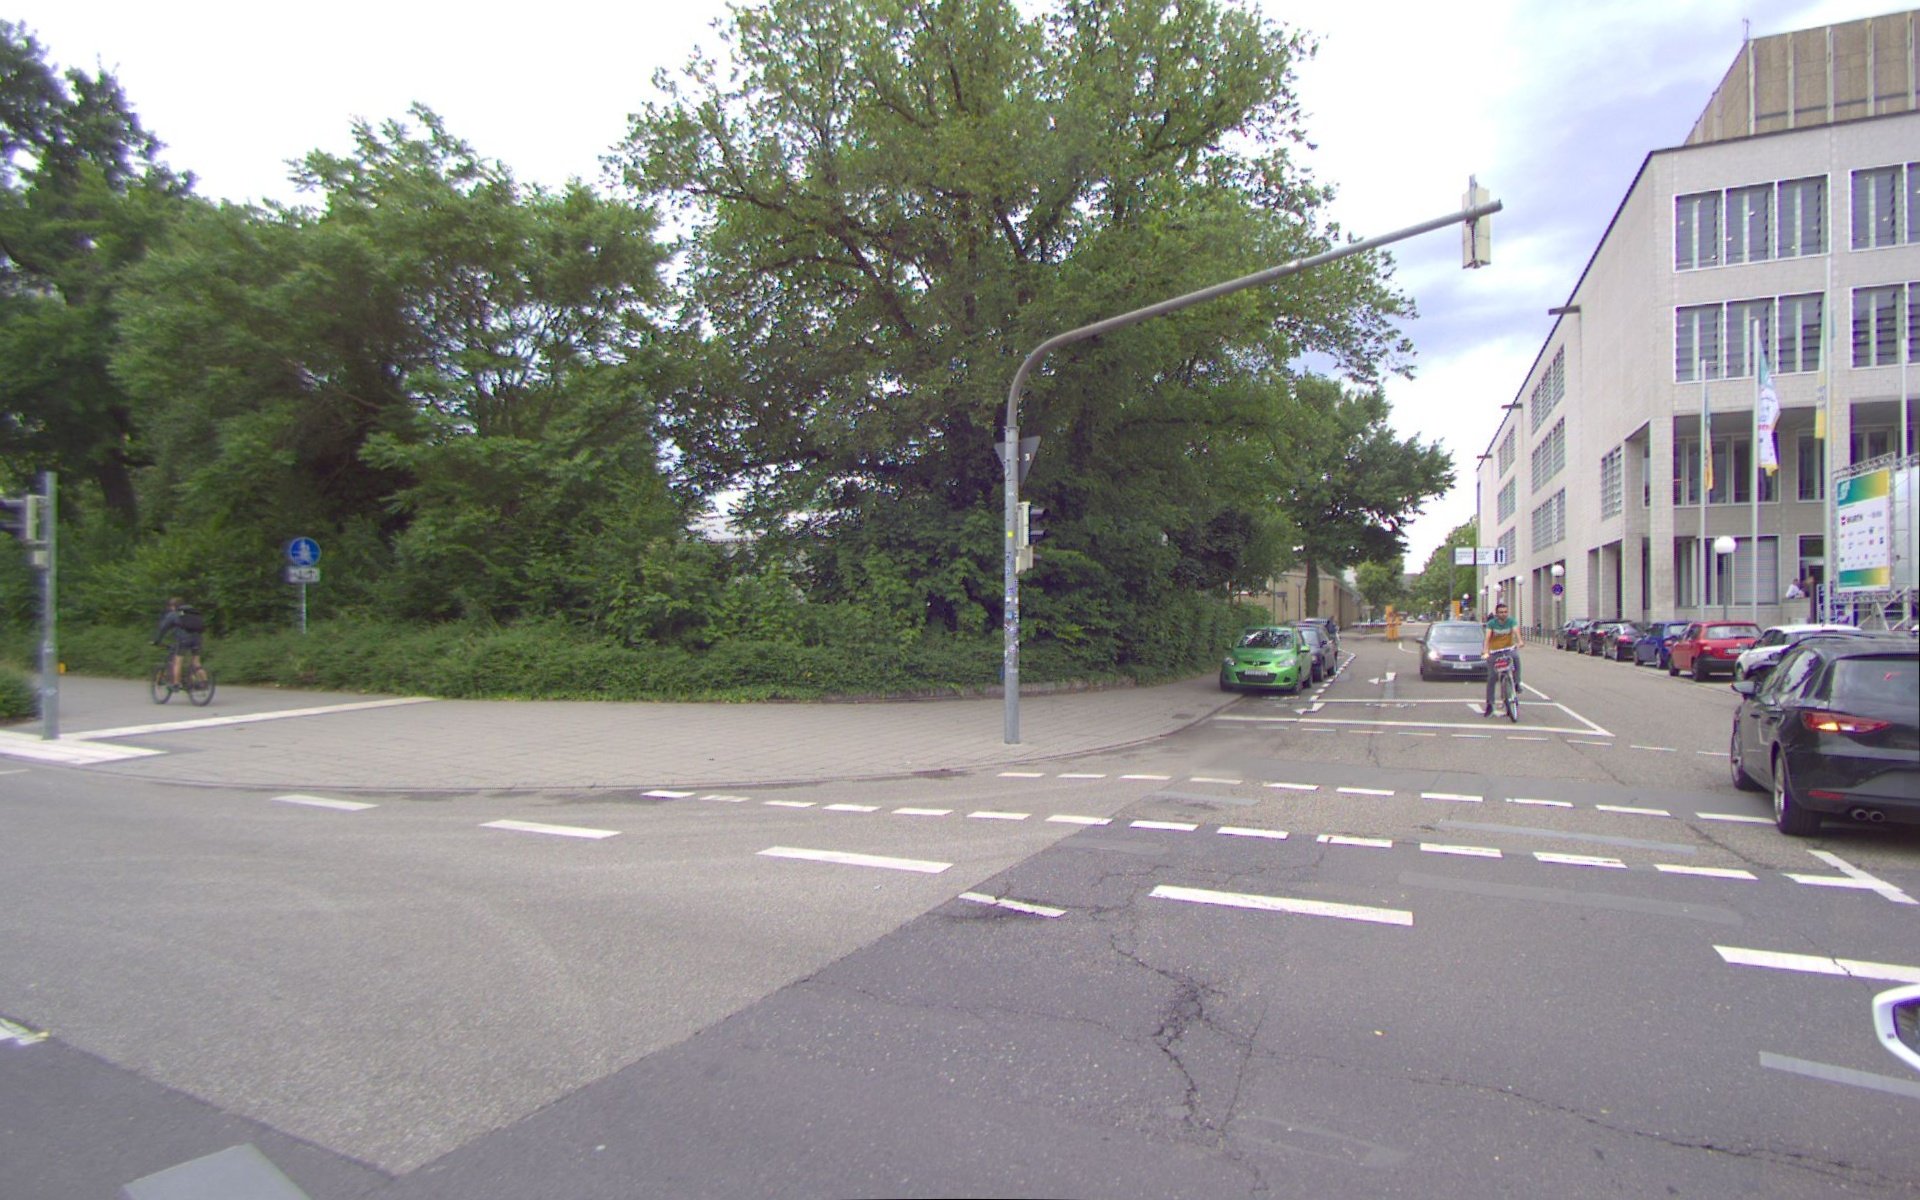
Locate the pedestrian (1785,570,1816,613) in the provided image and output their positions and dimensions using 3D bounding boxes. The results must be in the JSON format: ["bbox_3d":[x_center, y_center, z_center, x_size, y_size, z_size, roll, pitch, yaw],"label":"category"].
[{"bbox_3d":[33.505,-0.346,40.044,0.626,1.681,0.797,-2,3,-41],"label":"pedestrian"}]

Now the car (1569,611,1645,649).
[{"bbox_3d":[26.325,1.198,41.025,1.789,1.462,4.518,-2,-1,23],"label":"car"}]

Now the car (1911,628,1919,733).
[{"bbox_3d":[13.787,1.102,12.439,1.597,1.521,4.102,-2,-2,24],"label":"car"}]

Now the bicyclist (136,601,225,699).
[{"bbox_3d":[-13.448,0.840,17.342,0.904,1.630,0.767,0,2,11],"label":"bicyclist"}]

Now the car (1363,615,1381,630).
[{"bbox_3d":[45.804,2.504,111.614,1.741,1.622,3.998,1,0,23],"label":"car"}]

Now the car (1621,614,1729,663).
[{"bbox_3d":[22.465,1.163,31.726,1.667,1.430,4.376,-1,-1,20],"label":"car"}]

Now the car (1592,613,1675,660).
[{"bbox_3d":[24.399,1.257,36.532,1.819,1.461,4.414,0,1,25],"label":"car"}]

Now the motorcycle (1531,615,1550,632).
[{"bbox_3d":[41.805,1.670,72.342,2.200,1.164,0.560,-2,3,-42],"label":"motorcycle"}]

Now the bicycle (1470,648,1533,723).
[{"bbox_3d":[8.596,1.327,16.004,0.646,1.051,1.857,0,-1,21],"label":"bicycle"}]

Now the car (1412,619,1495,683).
[{"bbox_3d":[12.865,1.263,26.395,1.754,1.517,4.165,0,-1,23],"label":"car"}]

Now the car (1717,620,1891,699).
[{"bbox_3d":[17.964,1.200,21.609,1.831,1.472,3.856,0,0,24],"label":"car"}]

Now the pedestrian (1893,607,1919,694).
[{"bbox_3d":[20.225,1.057,21.121,0.780,1.811,0.818,0,-1,36],"label":"pedestrian"}]

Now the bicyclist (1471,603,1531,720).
[{"bbox_3d":[8.602,0.958,16.011,0.646,1.803,0.984,0,-1,16],"label":"bicyclist"}]

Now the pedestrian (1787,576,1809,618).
[{"bbox_3d":[34.043,-0.119,40.803,0.622,1.681,0.803,2,3,40],"label":"pedestrian"}]

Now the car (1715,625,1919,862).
[{"bbox_3d":[7.398,0.968,8.020,1.757,1.438,4.120,1,0,31],"label":"car"}]

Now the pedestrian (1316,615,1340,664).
[{"bbox_3d":[12.974,1.366,35.445,0.727,1.684,0.967,-1,0,23],"label":"pedestrian"}]

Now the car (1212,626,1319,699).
[{"bbox_3d":[7.162,1.361,23.284,1.770,1.489,4.244,0,-1,25],"label":"car"}]

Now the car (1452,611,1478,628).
[{"bbox_3d":[48.772,1.879,97.111,1.962,1.644,4.426,-1,-1,23],"label":"car"}]

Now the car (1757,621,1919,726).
[{"bbox_3d":[15.309,1.134,16.761,1.830,1.420,4.477,-2,-1,21],"label":"car"}]

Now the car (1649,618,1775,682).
[{"bbox_3d":[19.744,1.275,26.567,1.685,1.493,4.271,-2,-1,23],"label":"car"}]

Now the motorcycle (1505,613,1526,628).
[{"bbox_3d":[48.446,1.801,87.533,2.642,1.164,0.752,-1,3,-42],"label":"motorcycle"}]

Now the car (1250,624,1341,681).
[{"bbox_3d":[9.374,1.384,27.852,1.770,1.427,4.331,0,-1,27],"label":"car"}]

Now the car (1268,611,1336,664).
[{"bbox_3d":[11.342,1.160,33.113,1.769,1.582,4.527,0,0,23],"label":"car"}]

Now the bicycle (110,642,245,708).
[{"bbox_3d":[-13.507,1.279,17.365,1.827,1.051,0.783,0,1,9],"label":"bicycle"}]
